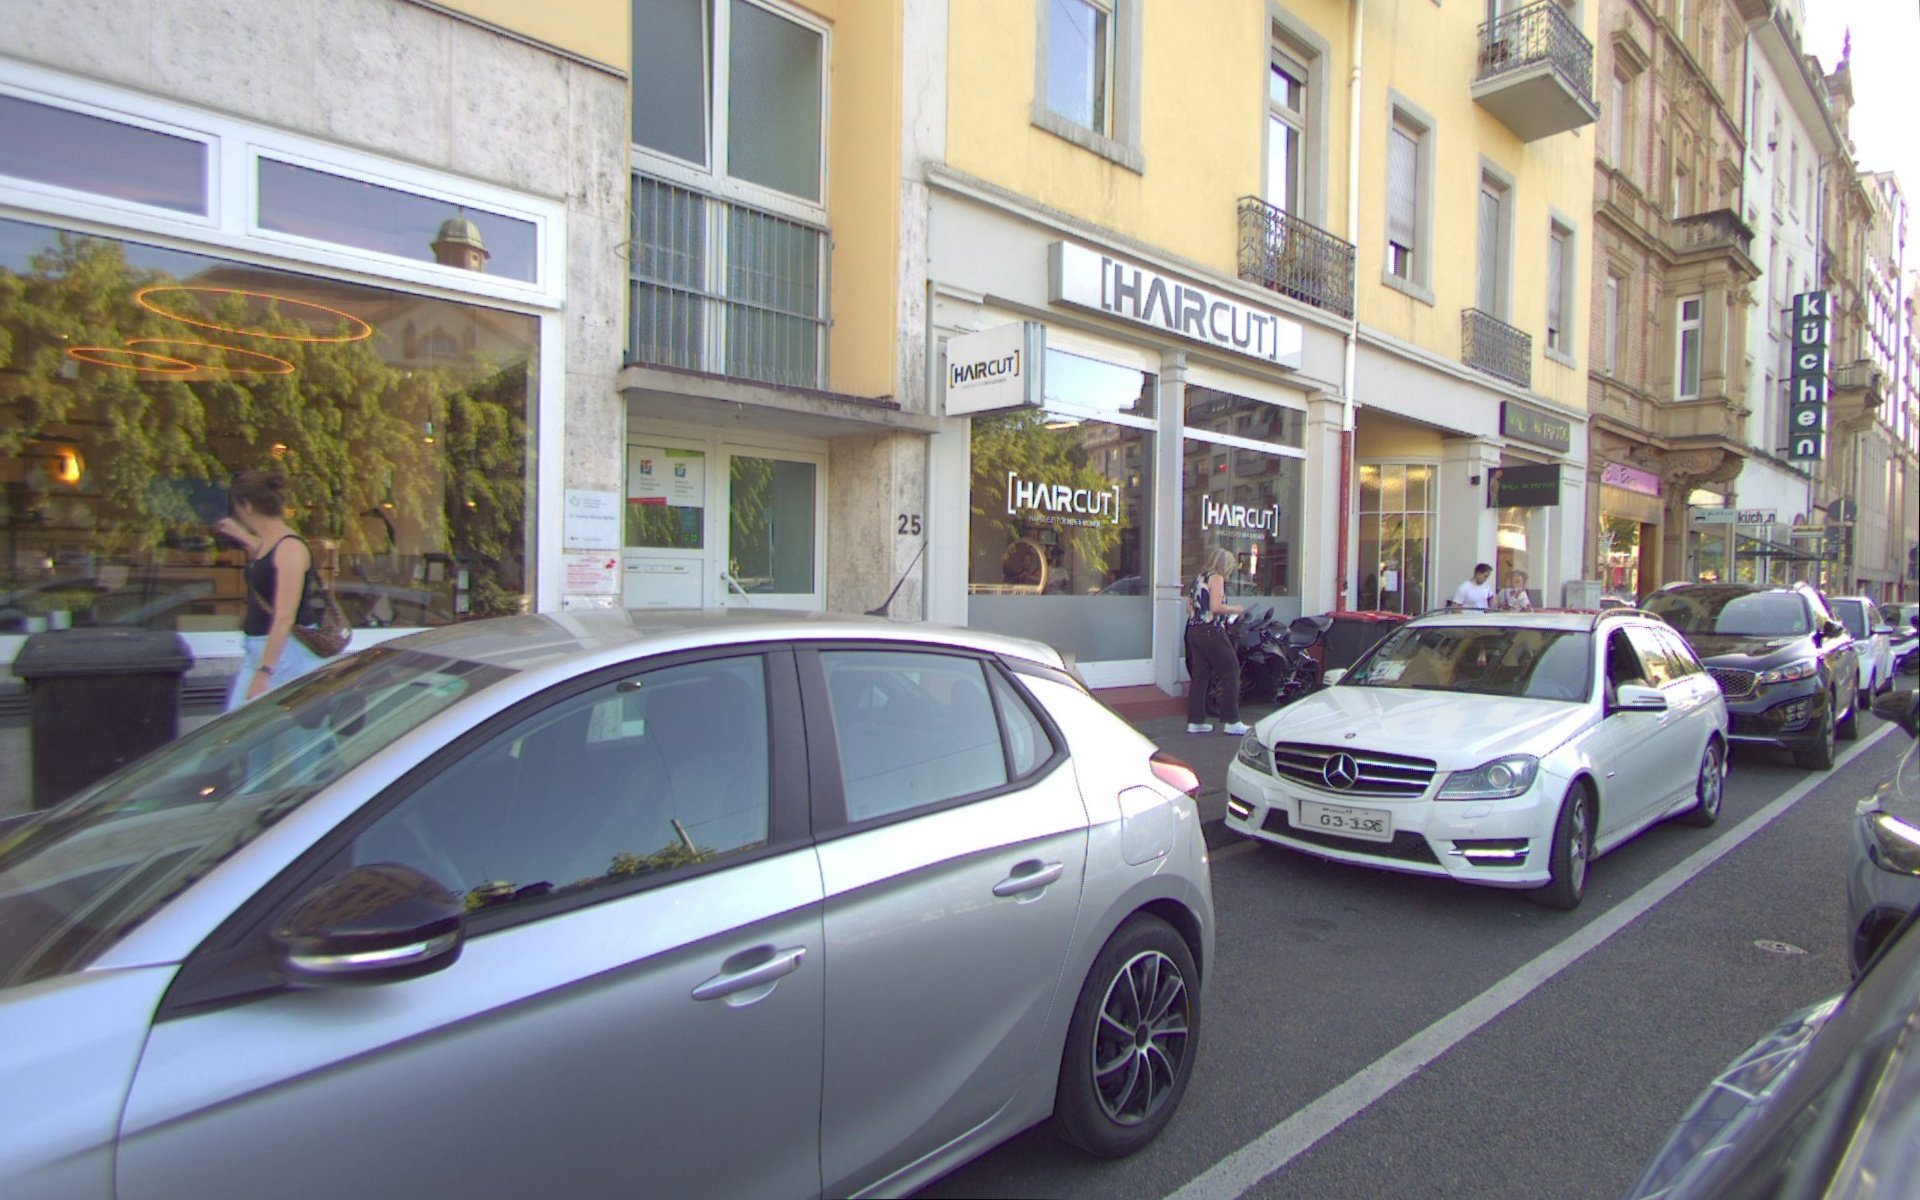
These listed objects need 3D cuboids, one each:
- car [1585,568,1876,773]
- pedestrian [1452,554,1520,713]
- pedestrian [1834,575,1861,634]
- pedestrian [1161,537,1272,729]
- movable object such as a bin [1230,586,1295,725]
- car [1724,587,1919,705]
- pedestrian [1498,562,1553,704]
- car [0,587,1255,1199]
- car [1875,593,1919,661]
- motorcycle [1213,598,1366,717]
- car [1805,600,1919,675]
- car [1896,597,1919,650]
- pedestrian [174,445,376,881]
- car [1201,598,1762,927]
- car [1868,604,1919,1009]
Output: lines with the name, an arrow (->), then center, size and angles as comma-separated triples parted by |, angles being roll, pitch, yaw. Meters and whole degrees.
car -> 7.974, 0.549, 10.319 | 4.176, 1.659, 1.799 | -1, 1, -45
pedestrian -> 6.800, 0.425, 13.084 | 0.679, 2.008, 0.375 | 1, 1, -18
pedestrian -> 28.693, 0.145, 32.720 | 0.653, 1.874, 0.574 | 0, 0, -40
pedestrian -> 2.352, 0.270, 9.305 | 0.595, 1.674, 0.719 | 0, 3, -40
movable object such as a bin -> 2.836, 0.509, 9.505 | 0.387, 1.253, 0.391 | 0, 3, -41
car -> 13.134, 0.581, 15.324 | 4.016, 1.546, 1.800 | -1, 0, -42
pedestrian -> 7.703, 0.434, 13.810 | 0.568, 1.874, 0.660 | 0, 0, 23
car -> -0.992, 0.698, 2.287 | 3.597, 1.445, 1.549 | -1, 1, -42
car -> 22.222, 0.574, 23.067 | 4.016, 1.450, 1.657 | -1, 0, -42
motorcycle -> 3.475, 0.550, 10.570 | 1.920, 1.091, 0.567 | -1, 4, -41
car -> 18.068, 0.667, 19.821 | 4.016, 1.282, 1.800 | -1, 1, -42
car -> 26.544, 0.606, 27.141 | 3.773, 1.357, 1.800 | -1, 1, -42
pedestrian -> -2.897, 0.238, 4.345 | 0.634, 1.686, 0.660 | 0, 0, -27
car -> 3.525, 0.699, 6.434 | 4.302, 1.376, 1.703 | -1, 1, -41
car -> 5.278, 0.706, 4.231 | 3.931, 1.376, 1.800 | -1, 1, -42
